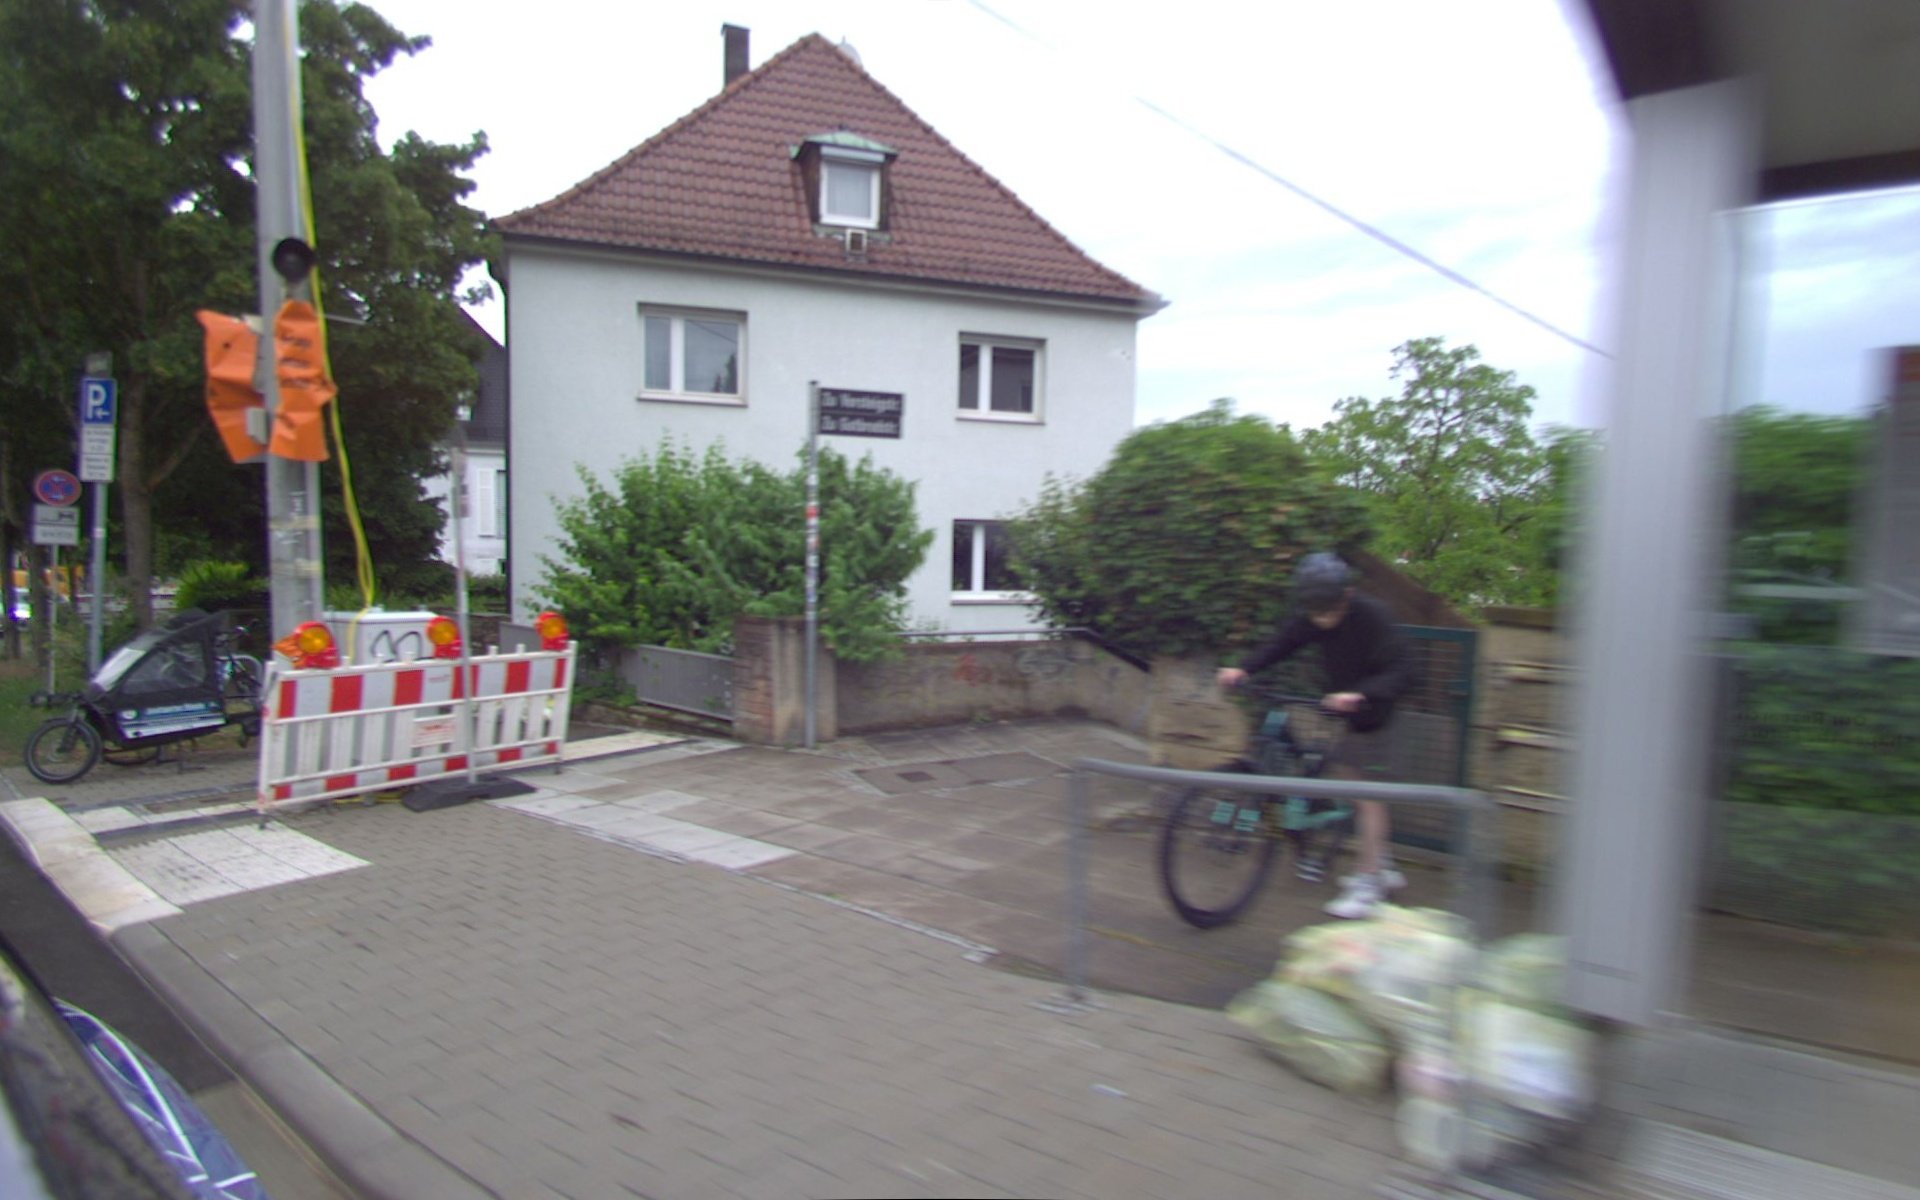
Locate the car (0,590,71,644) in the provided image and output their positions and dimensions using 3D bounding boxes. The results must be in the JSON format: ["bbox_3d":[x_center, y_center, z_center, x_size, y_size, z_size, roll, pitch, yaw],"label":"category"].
[{"bbox_3d":[-32.815,0.526,35.058,1.967,1.722,4.589,0,1,-28],"label":"car"}]

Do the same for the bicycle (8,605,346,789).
[{"bbox_3d":[-6.727,0.744,8.843,0.807,1.372,2.210,1,0,34],"label":"bicycle"}]

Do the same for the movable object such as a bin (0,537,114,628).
[{"bbox_3d":[-42.664,-0.820,46.315,3.276,3.868,7.224,0,1,-14],"label":"movable object such as a bin"}]

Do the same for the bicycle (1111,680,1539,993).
[{"bbox_3d":[1.713,0.921,4.628,1.848,0.939,1.099,0,1,-42],"label":"bicycle"}]

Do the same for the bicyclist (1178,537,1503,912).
[{"bbox_3d":[1.720,0.477,4.629,0.895,1.450,1.099,0,0,-42],"label":"bicyclist"}]

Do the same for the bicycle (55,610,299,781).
[{"bbox_3d":[-7.119,0.816,9.291,0.418,1.355,1.676,-2,1,35],"label":"bicycle"}]
